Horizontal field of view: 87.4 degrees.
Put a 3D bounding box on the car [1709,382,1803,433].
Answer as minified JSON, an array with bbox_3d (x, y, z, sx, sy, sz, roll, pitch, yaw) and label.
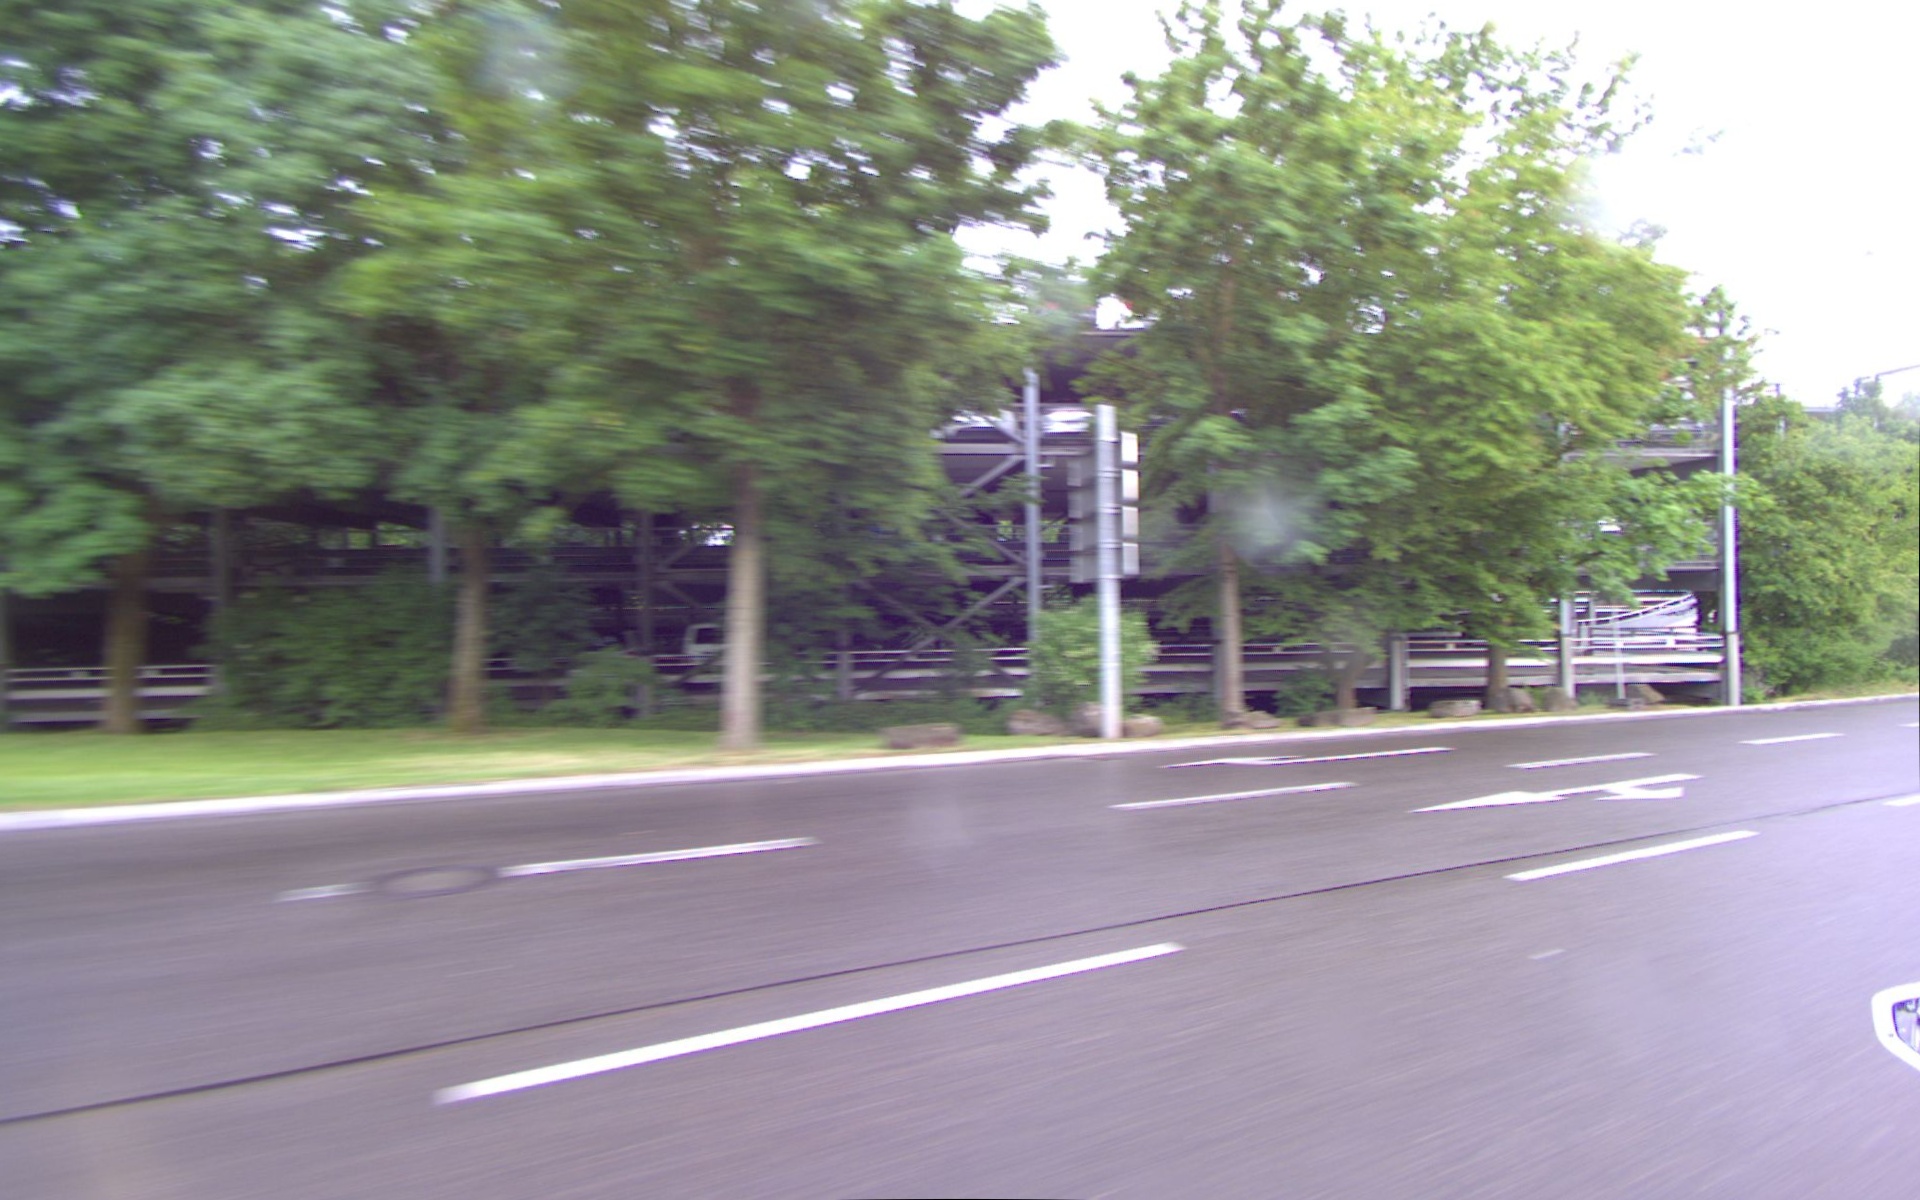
[{"bbox_3d":[36.760,-8.868,46.479,1.557,1.539,3.241,0,-2,-8],"label":"car"}]

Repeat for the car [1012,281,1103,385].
[{"bbox_3d":[2.520,-7.049,26.887,1.961,1.539,4.000,0,-2,-1],"label":"car"}]

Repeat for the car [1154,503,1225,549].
[{"bbox_3d":[9.956,-3.185,43.895,1.962,1.539,3.999,0,-2,-4],"label":"car"}]

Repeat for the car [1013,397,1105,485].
[{"bbox_3d":[2.542,-4.150,26.764,1.961,1.539,4.000,0,-2,-1],"label":"car"}]

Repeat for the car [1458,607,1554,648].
[{"bbox_3d":[21.395,1.099,39.487,1.557,1.539,3.470,0,-2,-8],"label":"car"}]

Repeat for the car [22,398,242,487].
[{"bbox_3d":[-19.493,-3.664,23.916,1.961,1.539,3.999,0,1,-1],"label":"car"}]

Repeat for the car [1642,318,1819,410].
[{"bbox_3d":[22.121,-6.747,29.067,1.961,1.539,4.000,0,-2,-1],"label":"car"}]

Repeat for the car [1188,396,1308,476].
[{"bbox_3d":[7.531,-4.264,26.660,1.961,1.539,3.999,0,1,-1],"label":"car"}]

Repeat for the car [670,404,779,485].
[{"bbox_3d":[-5.992,-3.954,26.035,1.961,1.539,3.999,0,1,-1],"label":"car"}]

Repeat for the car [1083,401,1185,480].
[{"bbox_3d":[4.568,-4.188,26.923,1.961,1.539,3.999,0,1,-1],"label":"car"}]

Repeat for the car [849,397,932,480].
[{"bbox_3d":[-1.705,-4.076,25.813,1.961,1.539,3.999,0,1,-1],"label":"car"}]

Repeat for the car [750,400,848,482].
[{"bbox_3d":[-4.058,-4.015,25.908,1.961,1.539,3.999,0,1,-1],"label":"car"}]

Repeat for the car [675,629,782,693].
[{"bbox_3d":[-5.937,1.558,26.275,1.961,1.539,4.000,0,-2,-1],"label":"car"}]

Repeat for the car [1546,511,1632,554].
[{"bbox_3d":[28.376,-3.018,45.409,1.557,1.539,3.241,0,-2,-8],"label":"car"}]

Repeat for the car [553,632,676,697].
[{"bbox_3d":[-8.770,1.625,25.865,1.961,1.539,3.999,0,-2,-3],"label":"car"}]

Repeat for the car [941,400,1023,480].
[{"bbox_3d":[0.501,-4.116,26.352,1.961,1.539,3.999,0,1,-1],"label":"car"}]

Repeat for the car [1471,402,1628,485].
[{"bbox_3d":[16.359,-4.304,28.146,1.961,1.539,4.000,0,-2,-1],"label":"car"}]

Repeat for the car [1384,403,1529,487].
[{"bbox_3d":[13.657,-4.237,27.926,1.961,1.539,4.000,0,-2,-1],"label":"car"}]

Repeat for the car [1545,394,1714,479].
[{"bbox_3d":[18.493,-4.474,28.017,1.961,1.539,4.000,0,-2,-1],"label":"car"}]

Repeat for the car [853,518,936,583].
[{"bbox_3d":[-1.610,-1.214,25.912,1.961,1.539,3.999,0,1,-1],"label":"car"}]

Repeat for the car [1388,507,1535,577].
[{"bbox_3d":[13.645,-1.524,27.643,1.961,1.539,4.000,0,-2,-1],"label":"car"}]
